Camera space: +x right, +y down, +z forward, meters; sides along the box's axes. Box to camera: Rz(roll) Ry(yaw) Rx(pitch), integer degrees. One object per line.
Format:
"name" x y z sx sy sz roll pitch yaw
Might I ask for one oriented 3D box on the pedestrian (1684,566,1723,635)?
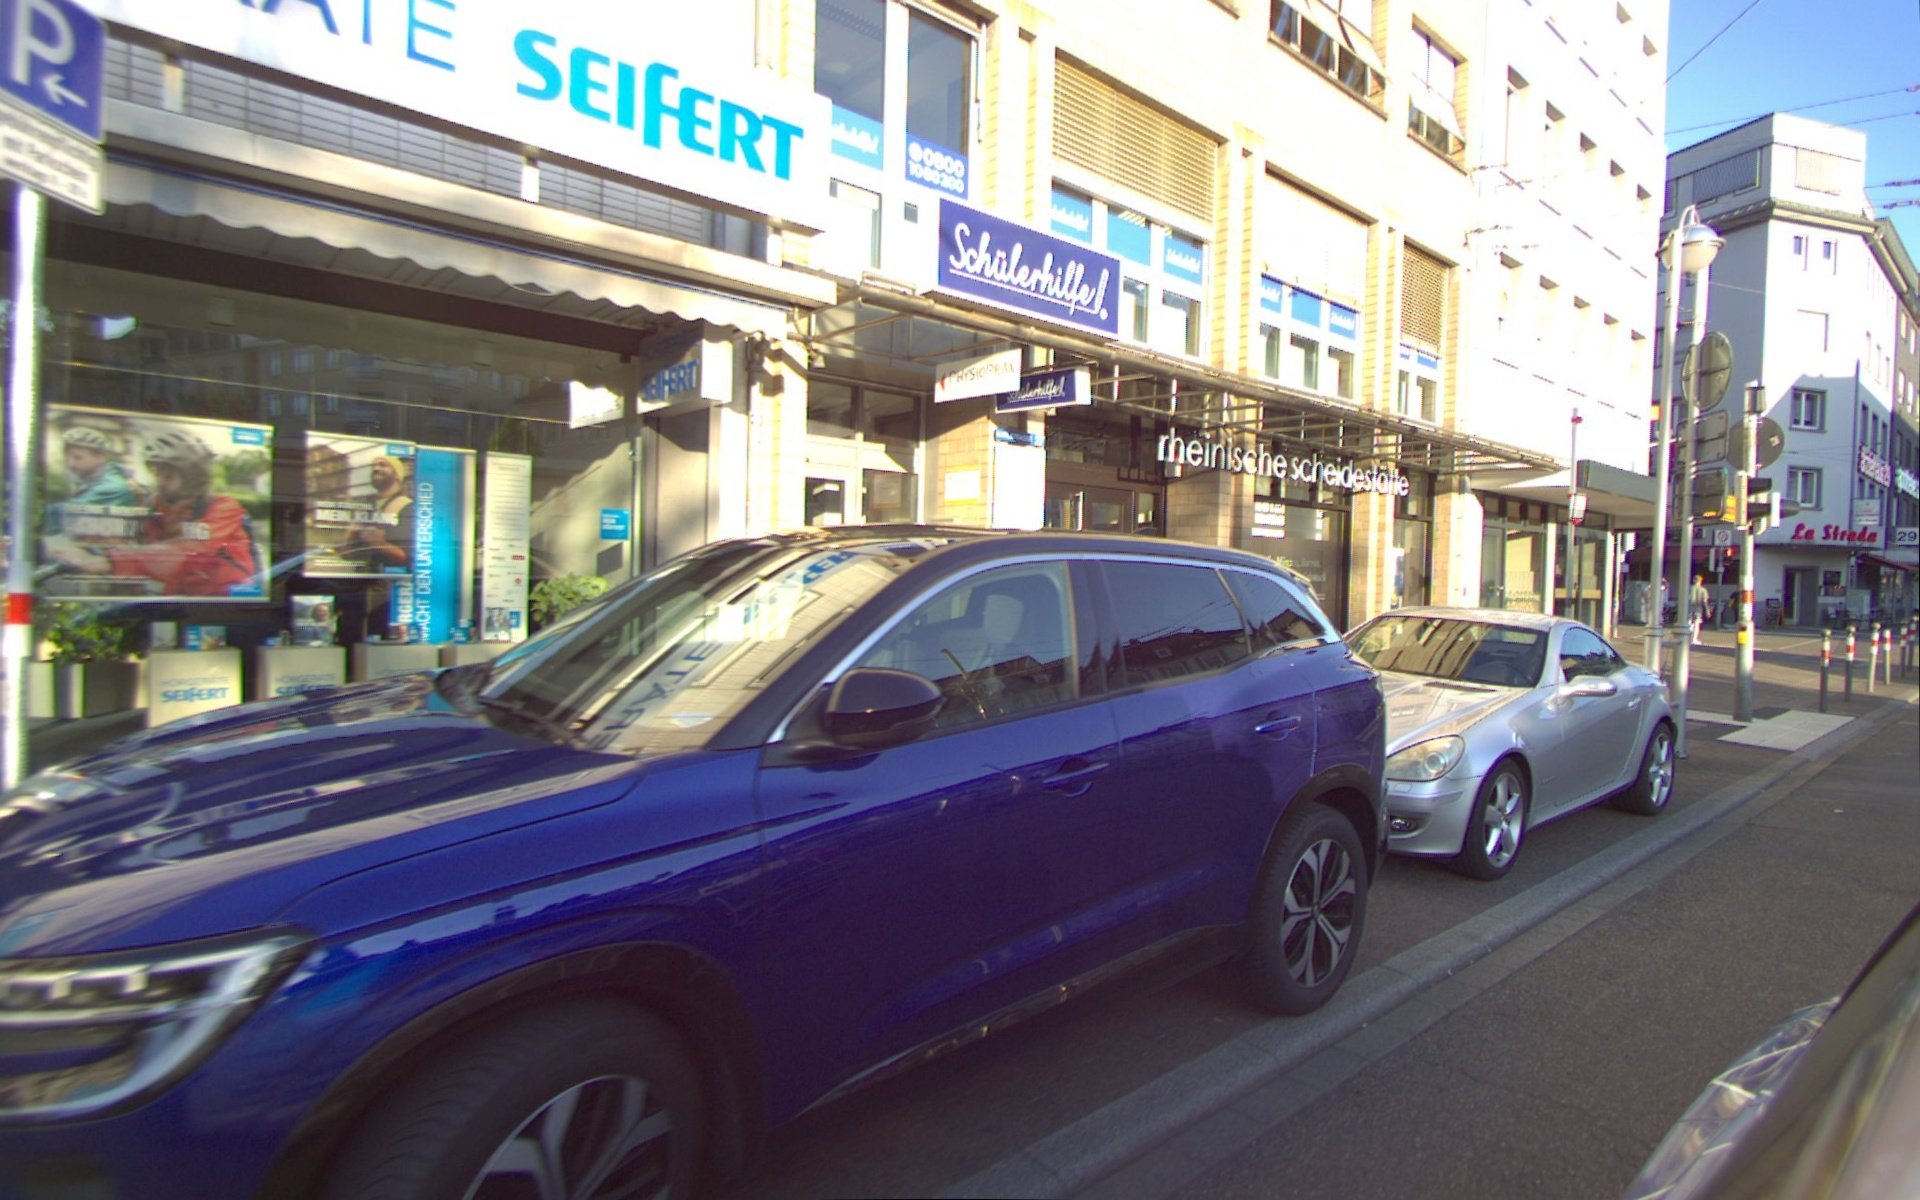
"pedestrian" 19.913 -0.001 27.109 0.747 1.795 0.578 3 2 42

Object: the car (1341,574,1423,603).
"car" 23.549 -0.675 56.658 1.767 1.410 4.429 1 3 -18

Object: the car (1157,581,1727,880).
"car" 3.224 0.550 6.432 3.990 1.298 1.678 -1 3 -39

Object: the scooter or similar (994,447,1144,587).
"scooter or similar" 1.046 -0.742 9.499 1.545 1.198 0.461 0 2 -42

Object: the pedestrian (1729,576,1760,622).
"pedestrian" 29.085 -0.033 37.509 0.577 1.676 0.798 0 2 -44

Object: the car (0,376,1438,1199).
"car" -0.354 0.504 3.115 4.213 1.625 1.768 0 2 -42

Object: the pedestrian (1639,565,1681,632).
"pedestrian" 19.420 -0.053 28.078 0.627 1.795 0.749 4 0 -38
